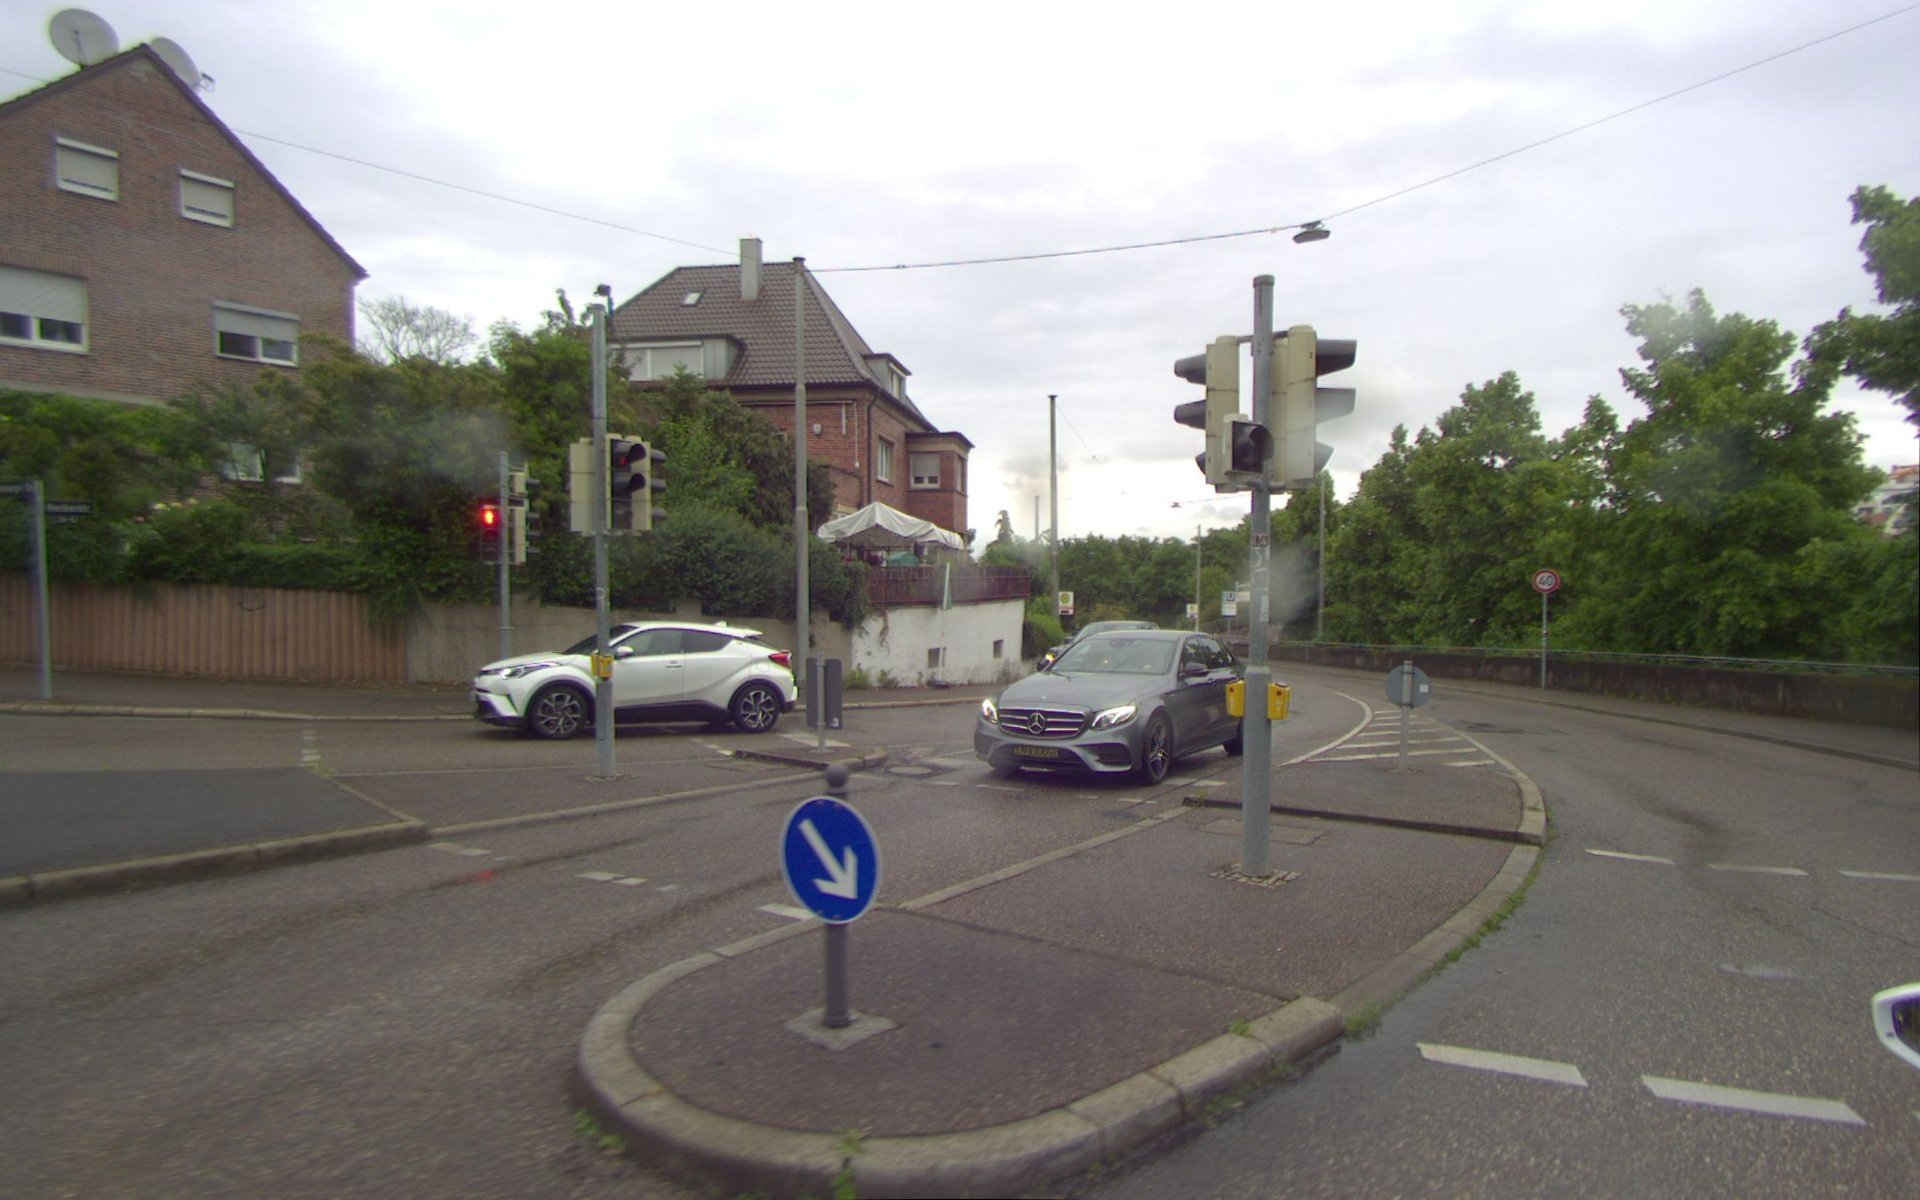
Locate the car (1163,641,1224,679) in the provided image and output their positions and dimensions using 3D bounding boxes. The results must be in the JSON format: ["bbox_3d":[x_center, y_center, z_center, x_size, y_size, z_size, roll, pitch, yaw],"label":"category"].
[{"bbox_3d":[10.115,2.581,43.835,1.816,1.493,4.444,-2,-3,3],"label":"car"}]

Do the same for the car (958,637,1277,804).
[{"bbox_3d":[1.969,1.149,11.141,1.833,1.413,4.585,-2,-3,32],"label":"car"}]

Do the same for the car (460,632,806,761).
[{"bbox_3d":[-4.404,1.216,13.812,4.219,1.486,1.695,2,-1,-36],"label":"car"}]

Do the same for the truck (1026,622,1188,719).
[{"bbox_3d":[3.403,1.482,22.212,1.854,1.872,5.273,-1,-3,28],"label":"truck"}]
